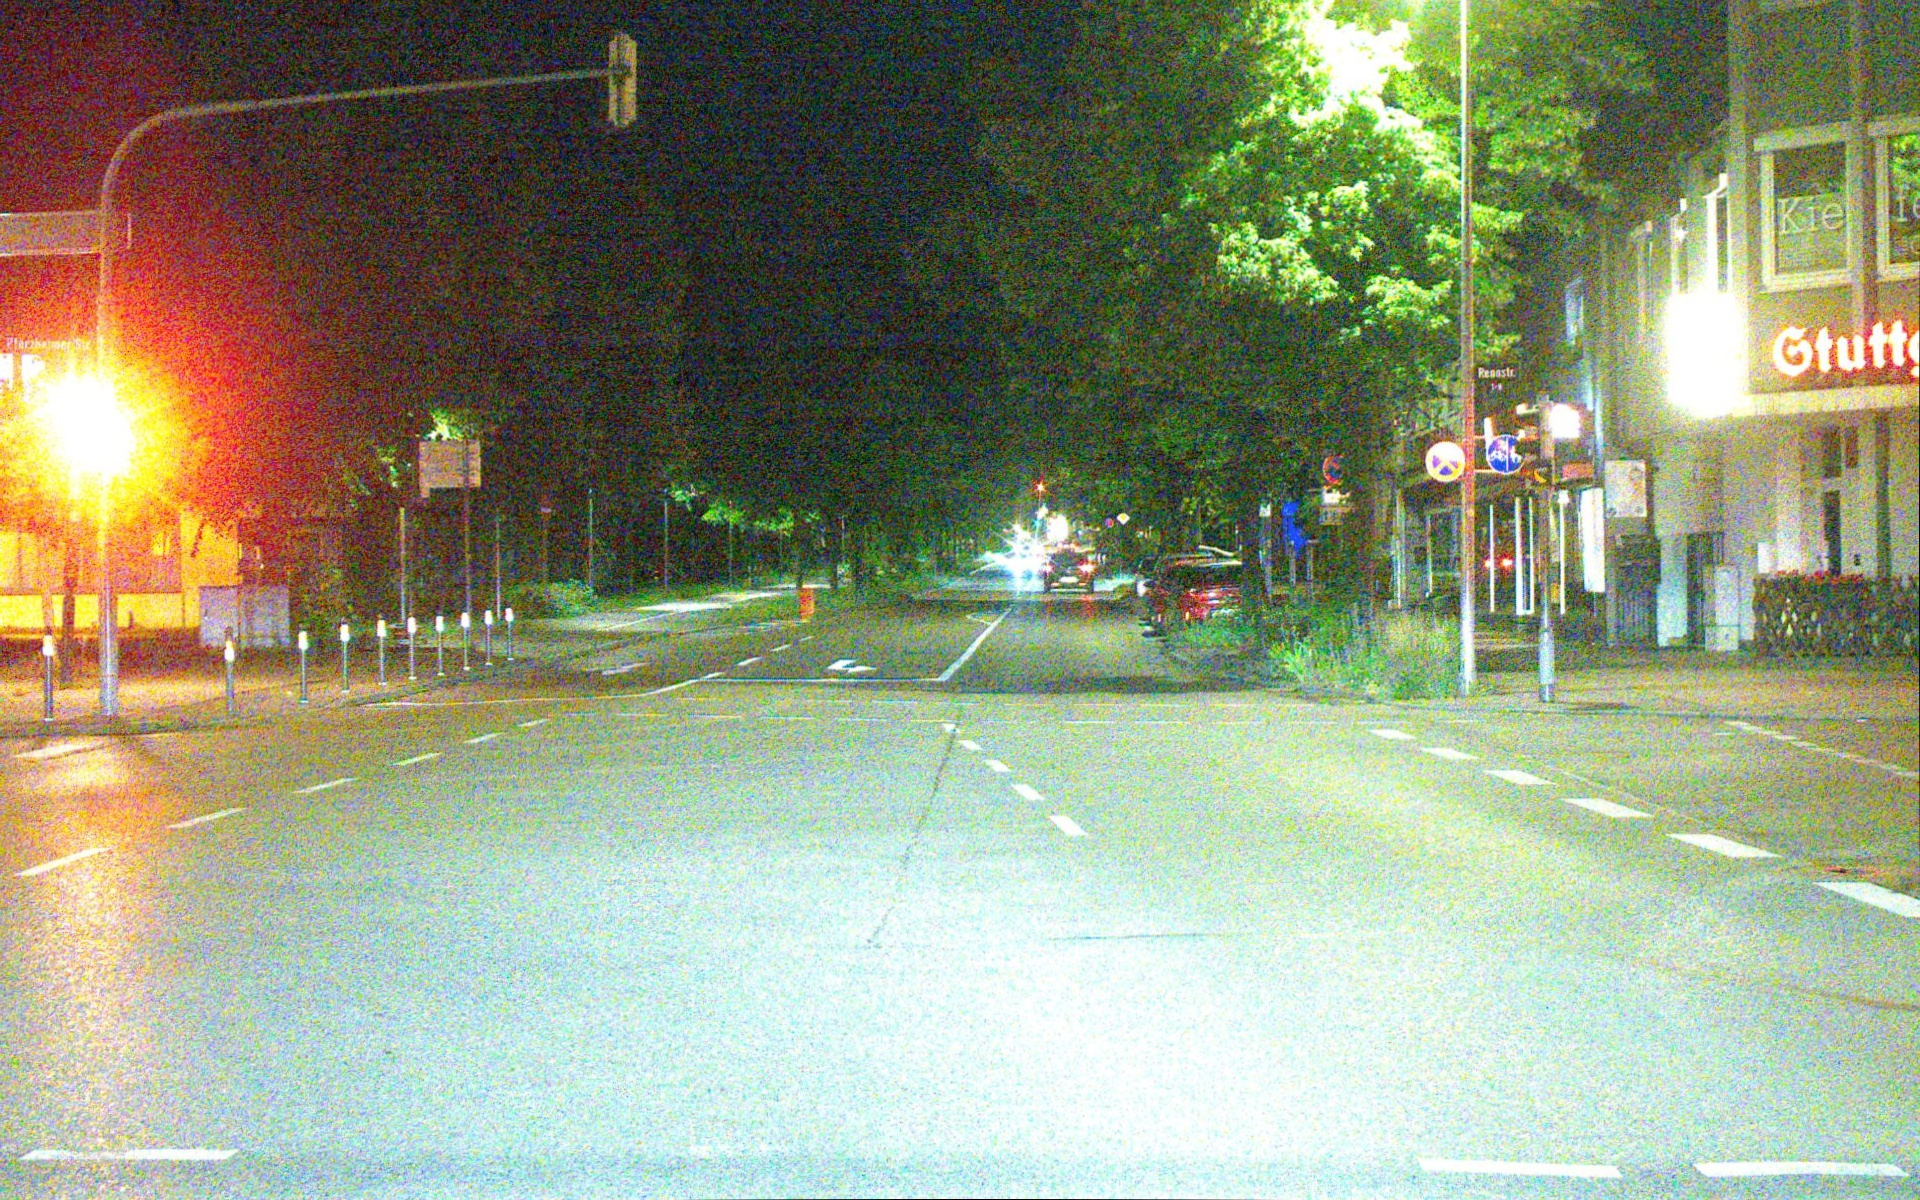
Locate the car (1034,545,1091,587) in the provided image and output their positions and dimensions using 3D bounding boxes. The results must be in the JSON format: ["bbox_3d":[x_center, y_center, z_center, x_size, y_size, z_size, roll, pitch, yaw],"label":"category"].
[{"bbox_3d":[3.619,-1.201,122.201,1.873,1.449,4.316,1,1,0],"label":"car"}]

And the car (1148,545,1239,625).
[{"bbox_3d":[5.168,-0.339,76.475,1.876,1.723,4.000,0,1,2],"label":"car"}]

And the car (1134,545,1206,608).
[{"bbox_3d":[5.753,-0.646,94.491,1.876,1.678,4.000,0,1,2],"label":"car"}]

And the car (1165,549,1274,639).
[{"bbox_3d":[4.773,-0.128,63.656,1.876,1.610,4.000,0,1,2],"label":"car"}]

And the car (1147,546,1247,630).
[{"bbox_3d":[4.708,-0.259,68.804,1.876,1.610,4.000,0,1,2],"label":"car"}]
